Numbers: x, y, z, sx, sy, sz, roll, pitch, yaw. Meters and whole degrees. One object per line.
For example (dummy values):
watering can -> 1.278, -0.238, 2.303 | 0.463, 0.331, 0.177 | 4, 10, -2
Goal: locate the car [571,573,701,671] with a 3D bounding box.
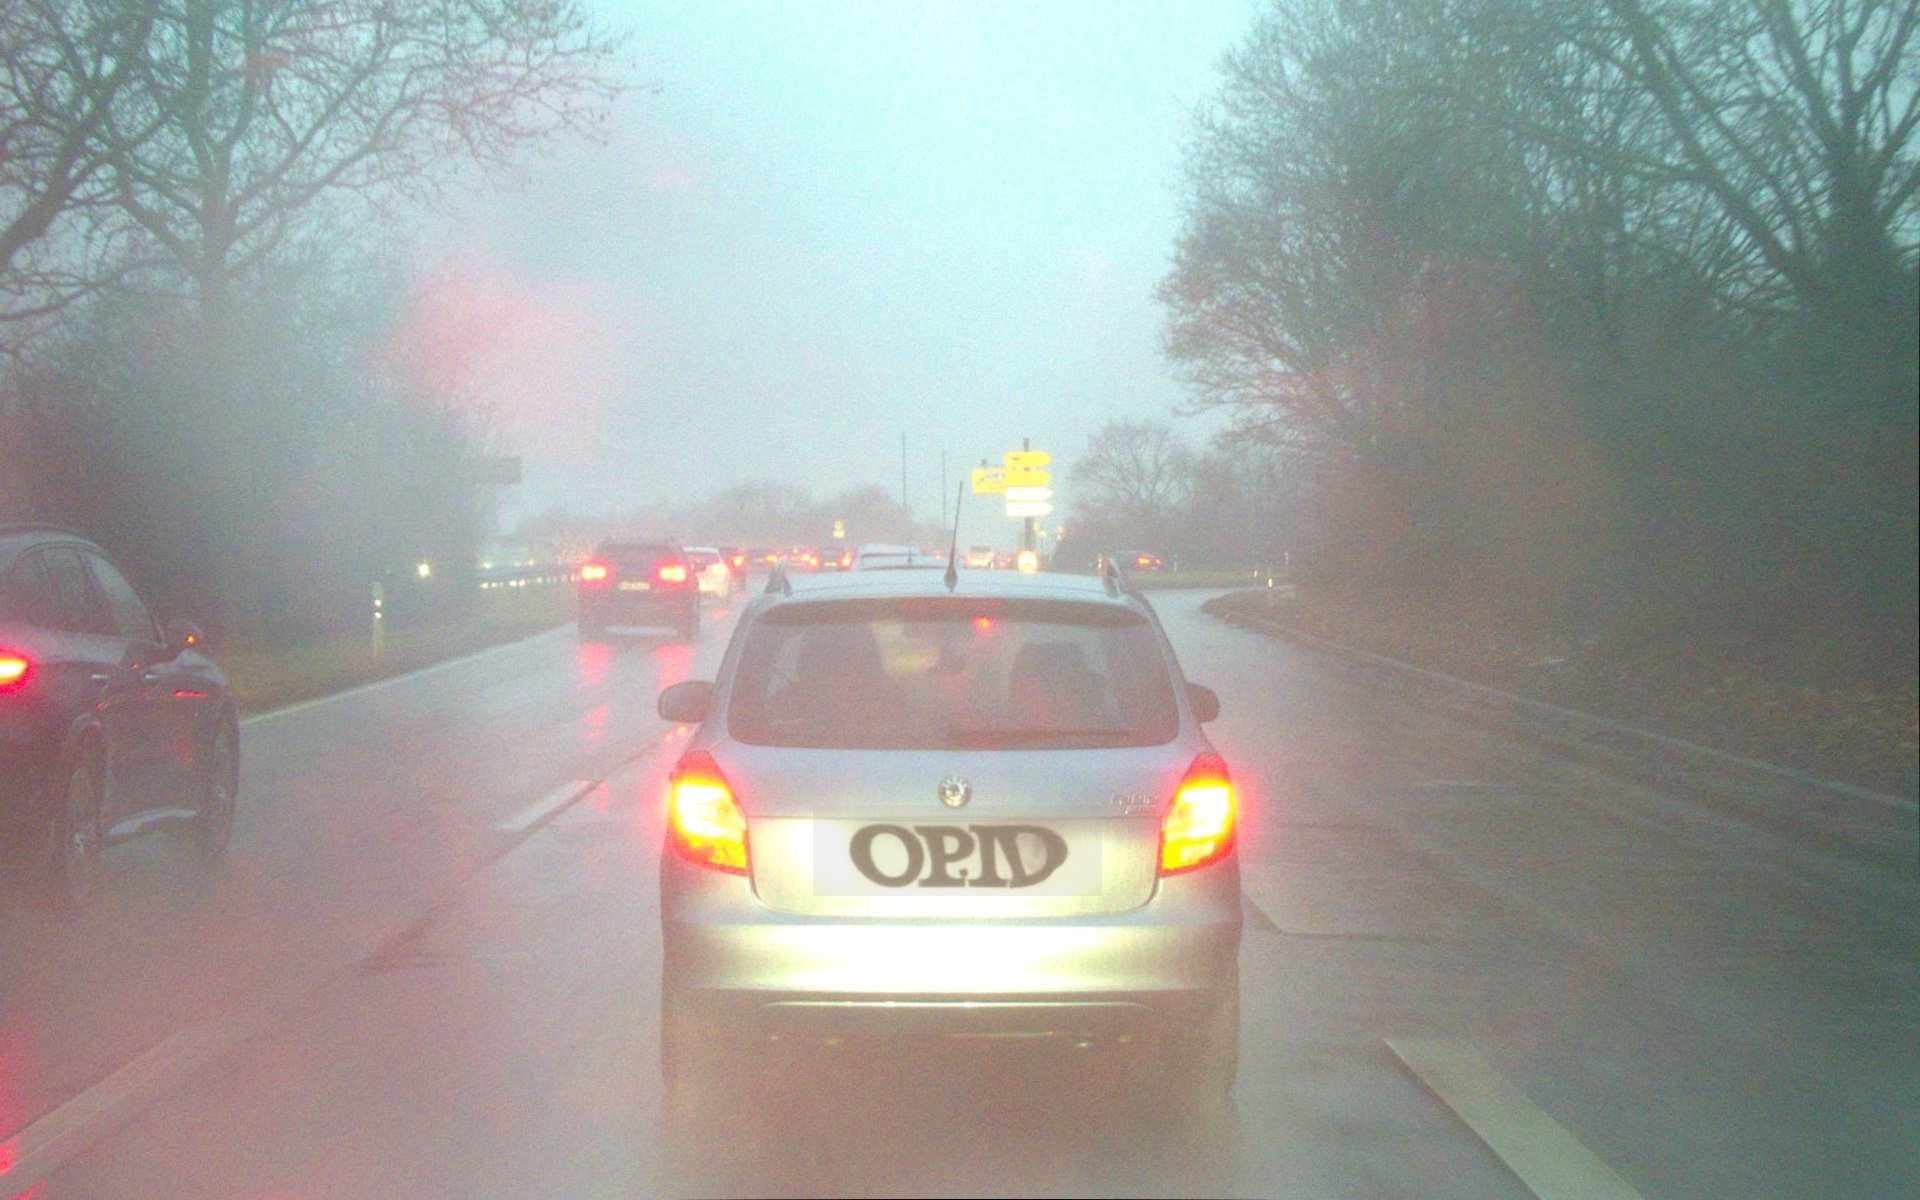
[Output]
car -> -5.327, 0.337, 56.958 | 1.789, 1.540, 4.000 | -1, 1, -1

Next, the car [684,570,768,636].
car -> -5.696, 0.048, 83.946 | 1.789, 1.540, 4.000 | -1, 1, -1

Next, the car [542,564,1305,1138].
car -> -0.108, 0.650, 11.095 | 1.993, 1.495, 4.138 | 0, 0, 0

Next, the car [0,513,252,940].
car -> -4.479, 0.429, 15.001 | 1.993, 1.596, 4.309 | 1, 1, -2

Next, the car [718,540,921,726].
car -> -1.373, 0.290, 35.083 | 1.897, 1.761, 4.309 | -1, 1, 0
